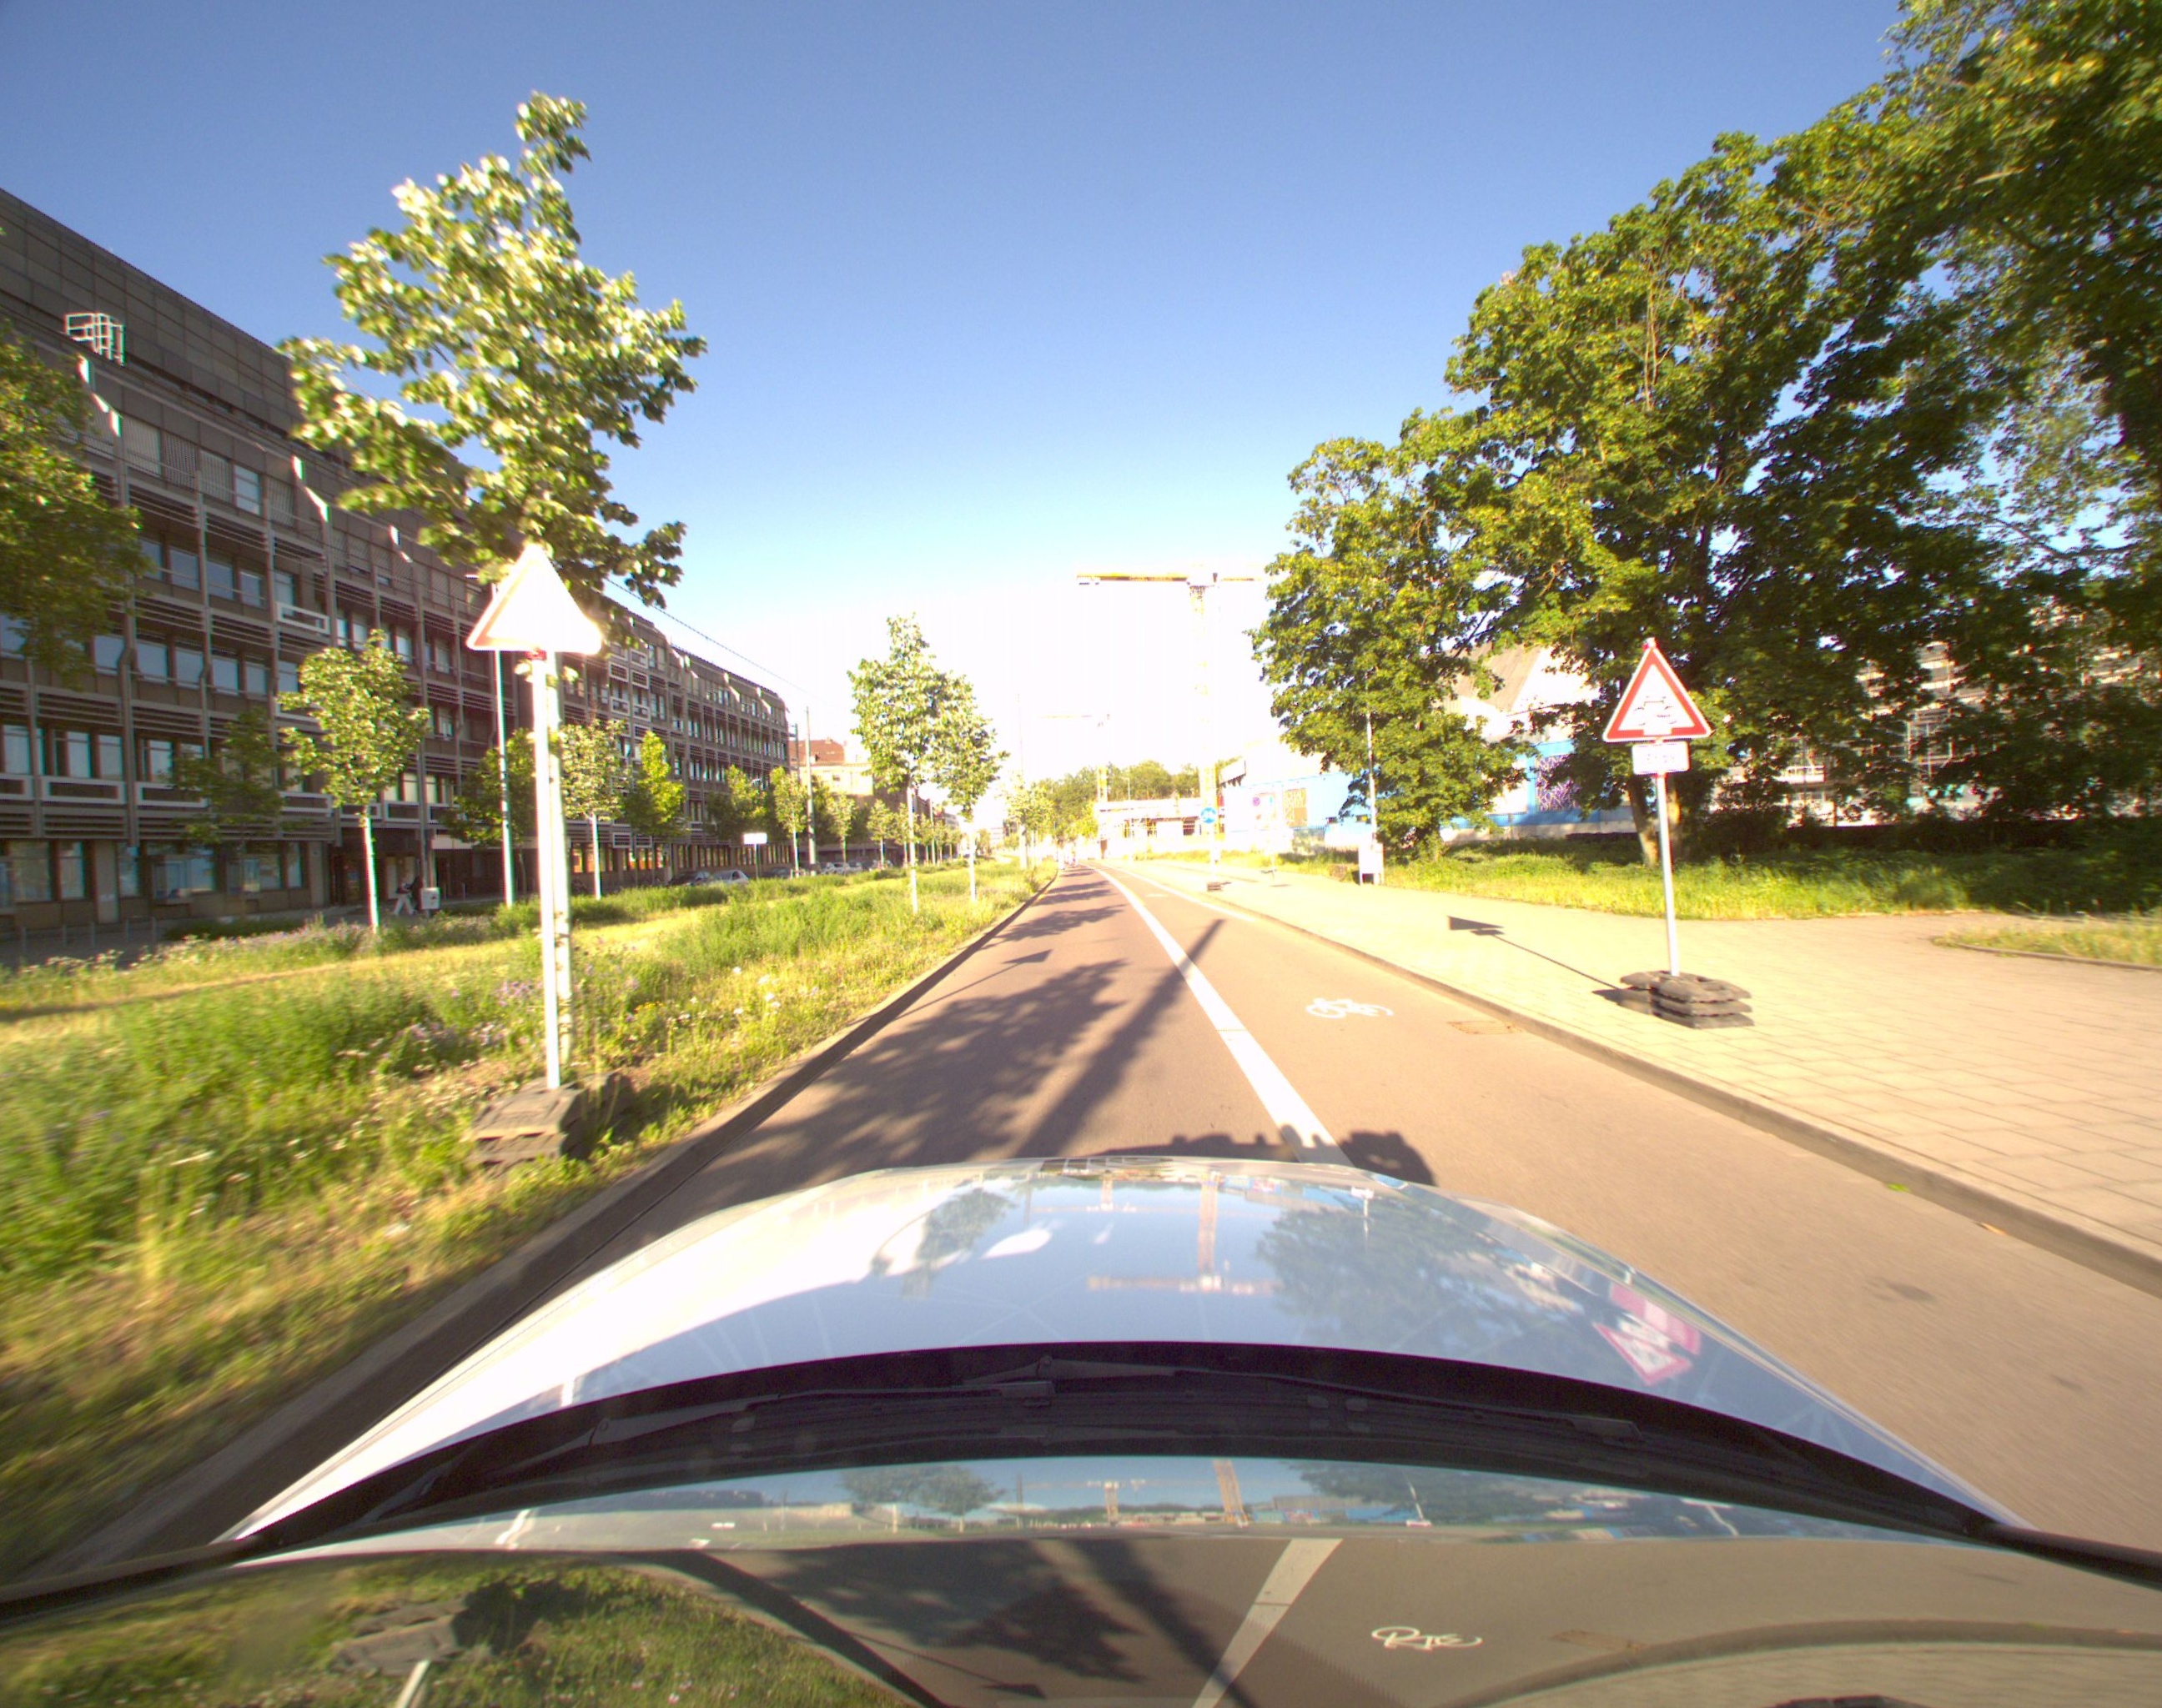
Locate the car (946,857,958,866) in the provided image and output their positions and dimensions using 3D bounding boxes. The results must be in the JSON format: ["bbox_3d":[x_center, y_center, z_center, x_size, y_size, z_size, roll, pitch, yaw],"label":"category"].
[{"bbox_3d":[-23.941,1.376,151.079,1.901,1.575,4.292,-3,0,-6],"label":"car"}]

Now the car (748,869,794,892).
[{"bbox_3d":[-24.868,2.121,65.466,1.897,1.575,4.301,-3,0,0],"label":"car"}]

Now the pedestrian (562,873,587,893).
[{"bbox_3d":[-31.502,1.783,50.657,0.896,1.169,0.899,-3,0,2],"label":"pedestrian"}]

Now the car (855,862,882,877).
[{"bbox_3d":[-24.863,1.767,95.292,1.897,1.575,4.301,-3,0,0],"label":"car"}]

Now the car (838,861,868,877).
[{"bbox_3d":[-24.501,1.602,87.697,1.897,1.575,4.301,-3,0,0],"label":"car"}]

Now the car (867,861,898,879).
[{"bbox_3d":[-19.582,1.566,80.561,1.897,1.575,4.301,-3,0,0],"label":"car"}]

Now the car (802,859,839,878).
[{"bbox_3d":[-24.242,1.339,75.953,1.897,1.575,4.301,-3,0,0],"label":"car"}]

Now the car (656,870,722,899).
[{"bbox_3d":[-24.520,1.877,51.119,1.897,1.575,4.301,-3,0,0],"label":"car"}]

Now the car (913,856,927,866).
[{"bbox_3d":[-27.095,1.167,137.219,1.901,1.575,4.292,-3,0,-6],"label":"car"}]

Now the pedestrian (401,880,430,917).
[{"bbox_3d":[-28.960,1.931,35.461,0.662,1.532,0.649,-3,0,-2],"label":"pedestrian"}]

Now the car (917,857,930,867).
[{"bbox_3d":[-27.545,1.348,142.535,1.901,1.575,4.292,-3,0,-6],"label":"car"}]

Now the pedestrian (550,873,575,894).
[{"bbox_3d":[-31.546,1.801,49.541,0.897,1.169,0.865,-3,0,0],"label":"pedestrian"}]

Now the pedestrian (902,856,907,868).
[{"bbox_3d":[-28.962,1.262,133.745,0.549,1.947,0.648,-3,0,-7],"label":"pedestrian"}]

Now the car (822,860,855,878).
[{"bbox_3d":[-24.299,1.478,81.817,1.897,1.575,4.301,-3,0,0],"label":"car"}]

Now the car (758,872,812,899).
[{"bbox_3d":[-20.161,2.134,55.650,1.897,1.575,4.410,-3,0,1],"label":"car"}]

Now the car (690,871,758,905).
[{"bbox_3d":[-19.722,1.826,45.135,1.897,1.575,4.000,-3,0,0],"label":"car"}]
